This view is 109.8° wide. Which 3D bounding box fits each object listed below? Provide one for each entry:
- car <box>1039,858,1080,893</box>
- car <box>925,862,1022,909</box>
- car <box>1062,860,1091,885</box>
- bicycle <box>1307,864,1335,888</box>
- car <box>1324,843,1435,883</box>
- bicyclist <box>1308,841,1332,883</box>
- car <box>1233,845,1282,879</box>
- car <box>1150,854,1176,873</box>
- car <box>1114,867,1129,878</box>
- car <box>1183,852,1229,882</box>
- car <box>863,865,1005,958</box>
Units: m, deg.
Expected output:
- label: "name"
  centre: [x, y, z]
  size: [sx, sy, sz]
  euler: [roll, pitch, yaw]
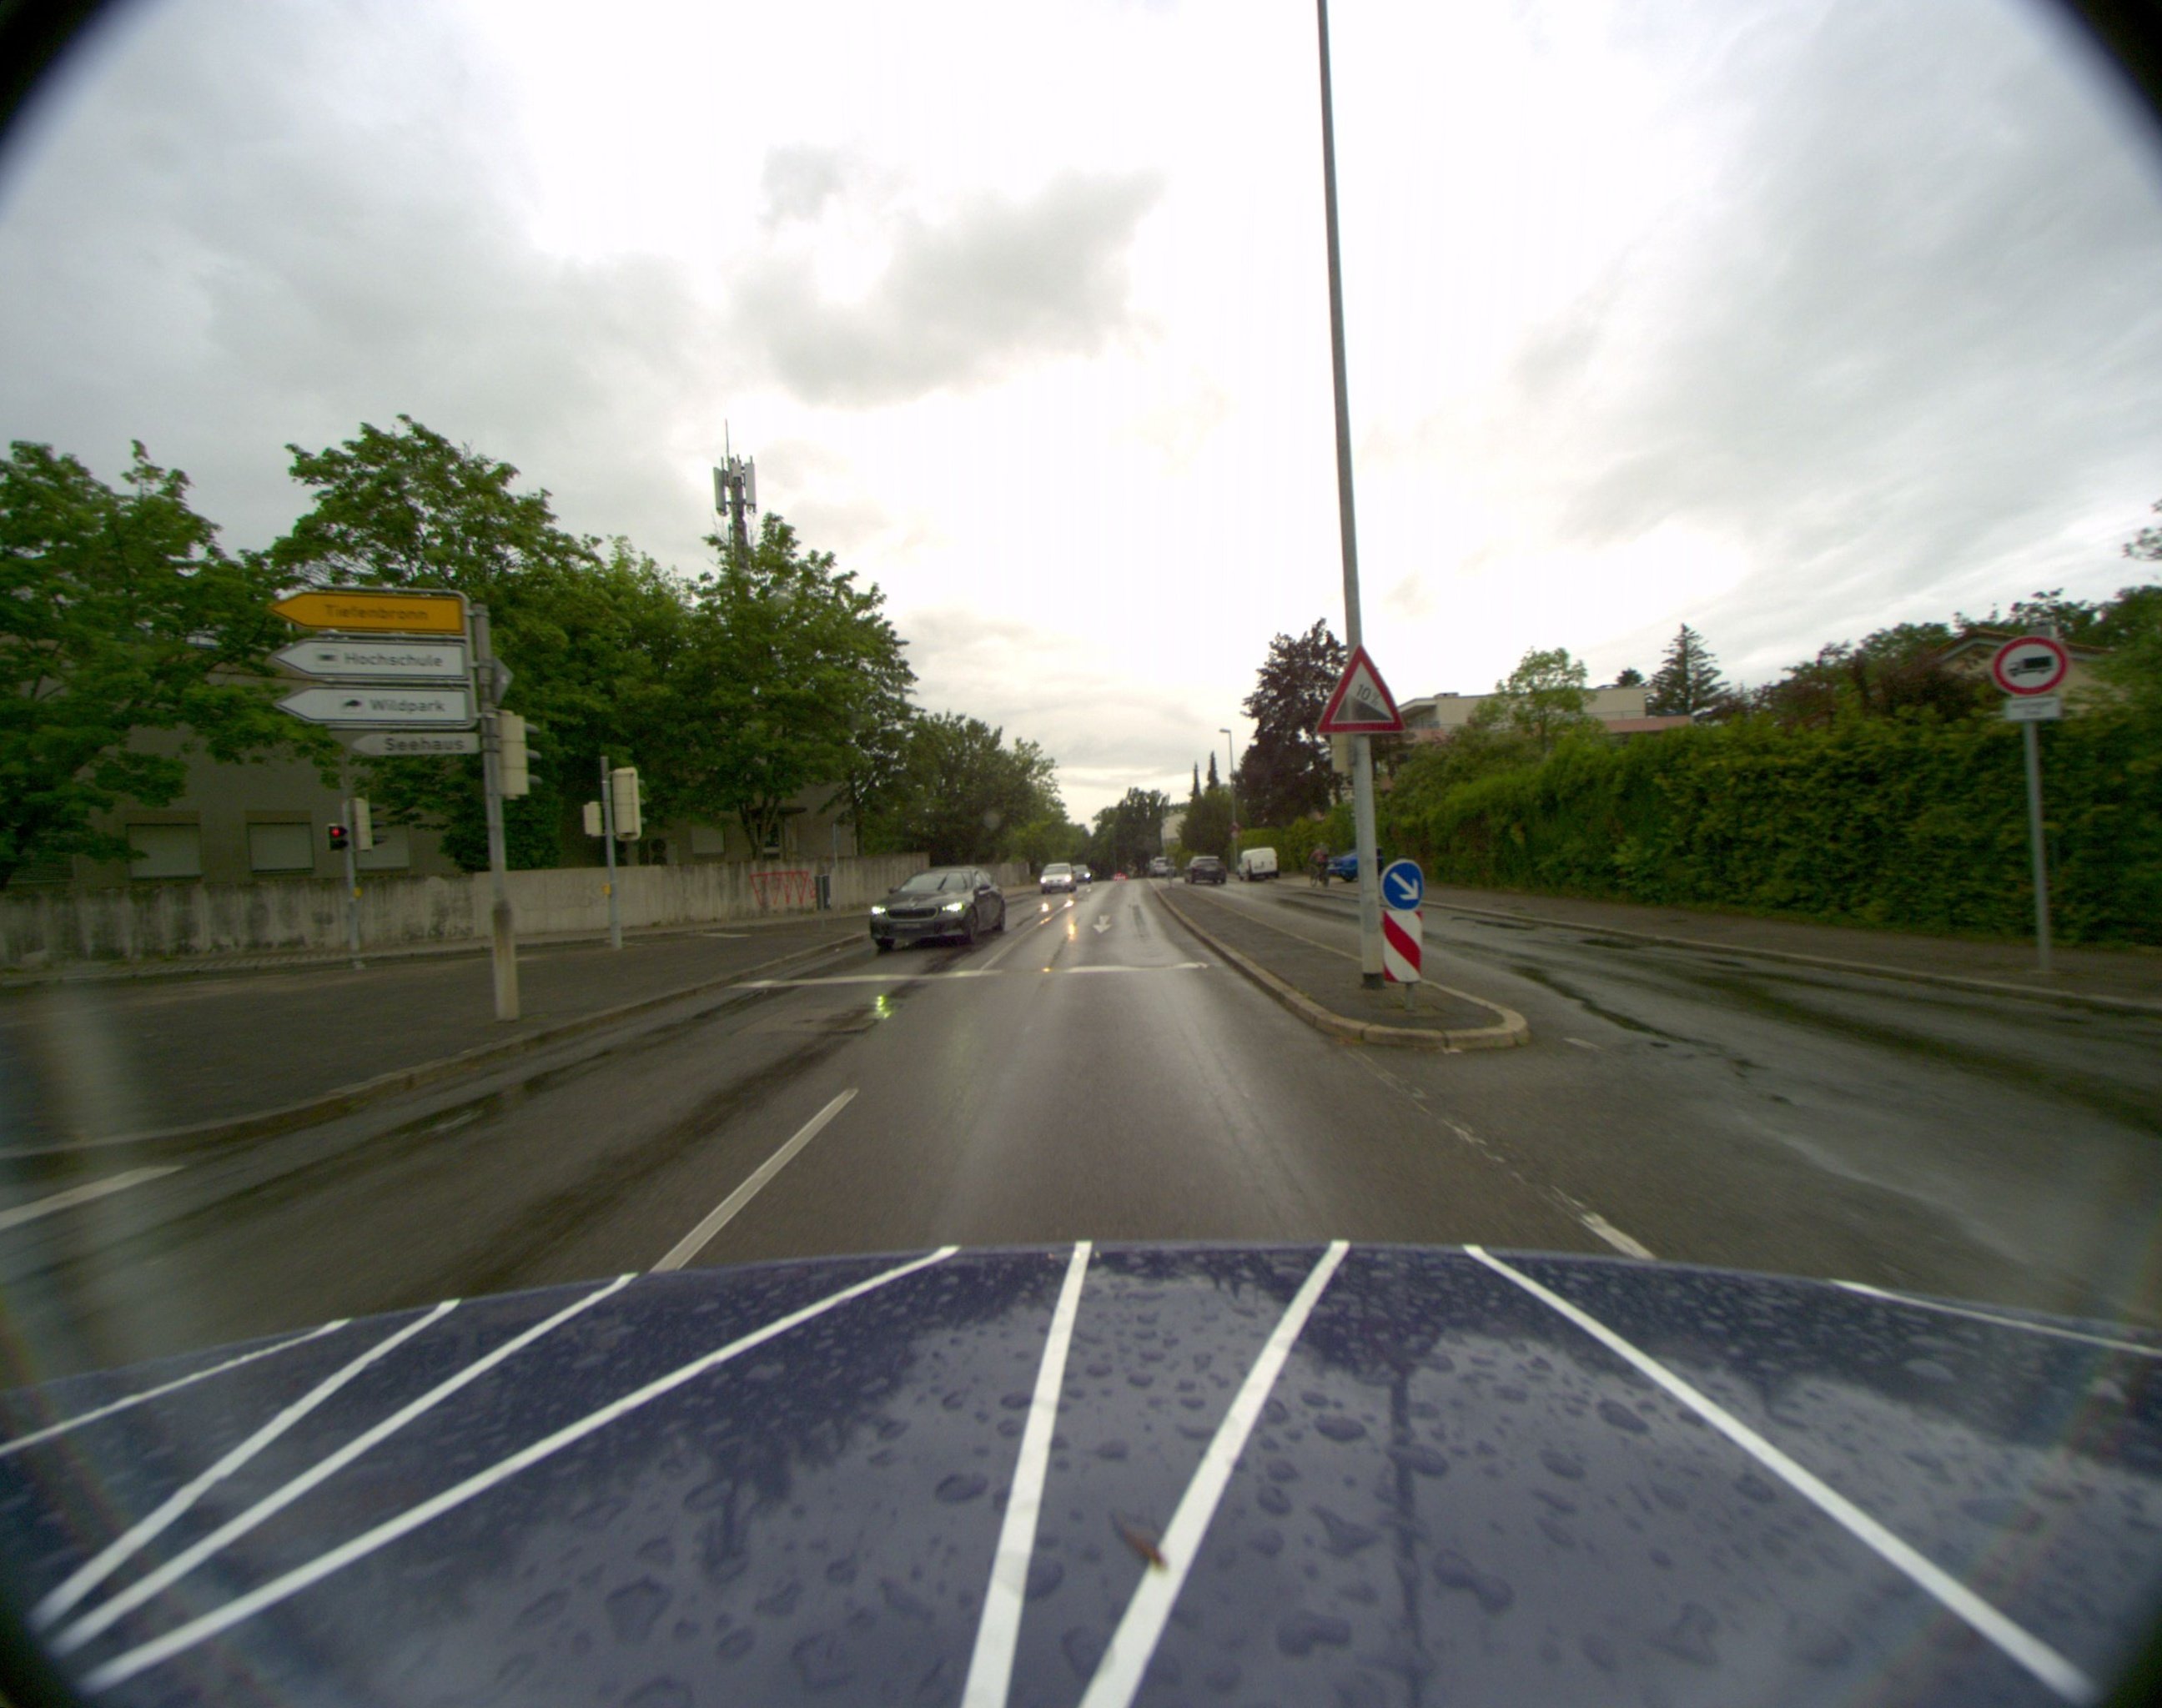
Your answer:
- label: "car"
  centre: [-1.103, 1.122, 40.944]
  size: [1.998, 1.647, 3.999]
  euler: [-2, 1, 1]
- label: "car"
  centre: [-4.092, 1.188, 29.617]
  size: [1.690, 1.543, 4.006]
  euler: [-2, 1, 27]
- label: "car"
  centre: [-0.297, 1.339, 57.083]
  size: [1.998, 1.647, 4.226]
  euler: [-2, 1, 1]
- label: "bicycle"
  centre: [9.623, 0.879, 30.557]
  size: [0.743, 0.845, 1.973]
  euler: [-3, 0, 9]
- label: "car"
  centre: [12.422, 0.360, 31.769]
  size: [3.889, 1.447, 1.768]
  euler: [-2, 1, -1]
- label: "bicyclist"
  centre: [9.568, 0.321, 30.392]
  size: [0.743, 1.637, 0.778]
  euler: [-3, 1, 9]
- label: "car"
  centre: [9.870, 0.407, 42.697]
  size: [1.821, 1.707, 3.999]
  euler: [-2, 1, 1]
- label: "car"
  centre: [6.958, 0.781, 64.993]
  size: [1.821, 1.447, 3.999]
  euler: [-2, 1, 1]
- label: "car"
  centre: [5.737, 2.627, 107.924]
  size: [1.821, 1.447, 3.998]
  euler: [-2, 1, -2]
- label: "car"
  centre: [6.699, 0.664, 41.118]
  size: [1.821, 1.447, 3.999]
  euler: [-2, 1, 1]
- label: "car"
  centre: [-2.842, 1.067, 15.649]
  size: [1.872, 1.510, 4.000]
  euler: [-2, 1, 3]
